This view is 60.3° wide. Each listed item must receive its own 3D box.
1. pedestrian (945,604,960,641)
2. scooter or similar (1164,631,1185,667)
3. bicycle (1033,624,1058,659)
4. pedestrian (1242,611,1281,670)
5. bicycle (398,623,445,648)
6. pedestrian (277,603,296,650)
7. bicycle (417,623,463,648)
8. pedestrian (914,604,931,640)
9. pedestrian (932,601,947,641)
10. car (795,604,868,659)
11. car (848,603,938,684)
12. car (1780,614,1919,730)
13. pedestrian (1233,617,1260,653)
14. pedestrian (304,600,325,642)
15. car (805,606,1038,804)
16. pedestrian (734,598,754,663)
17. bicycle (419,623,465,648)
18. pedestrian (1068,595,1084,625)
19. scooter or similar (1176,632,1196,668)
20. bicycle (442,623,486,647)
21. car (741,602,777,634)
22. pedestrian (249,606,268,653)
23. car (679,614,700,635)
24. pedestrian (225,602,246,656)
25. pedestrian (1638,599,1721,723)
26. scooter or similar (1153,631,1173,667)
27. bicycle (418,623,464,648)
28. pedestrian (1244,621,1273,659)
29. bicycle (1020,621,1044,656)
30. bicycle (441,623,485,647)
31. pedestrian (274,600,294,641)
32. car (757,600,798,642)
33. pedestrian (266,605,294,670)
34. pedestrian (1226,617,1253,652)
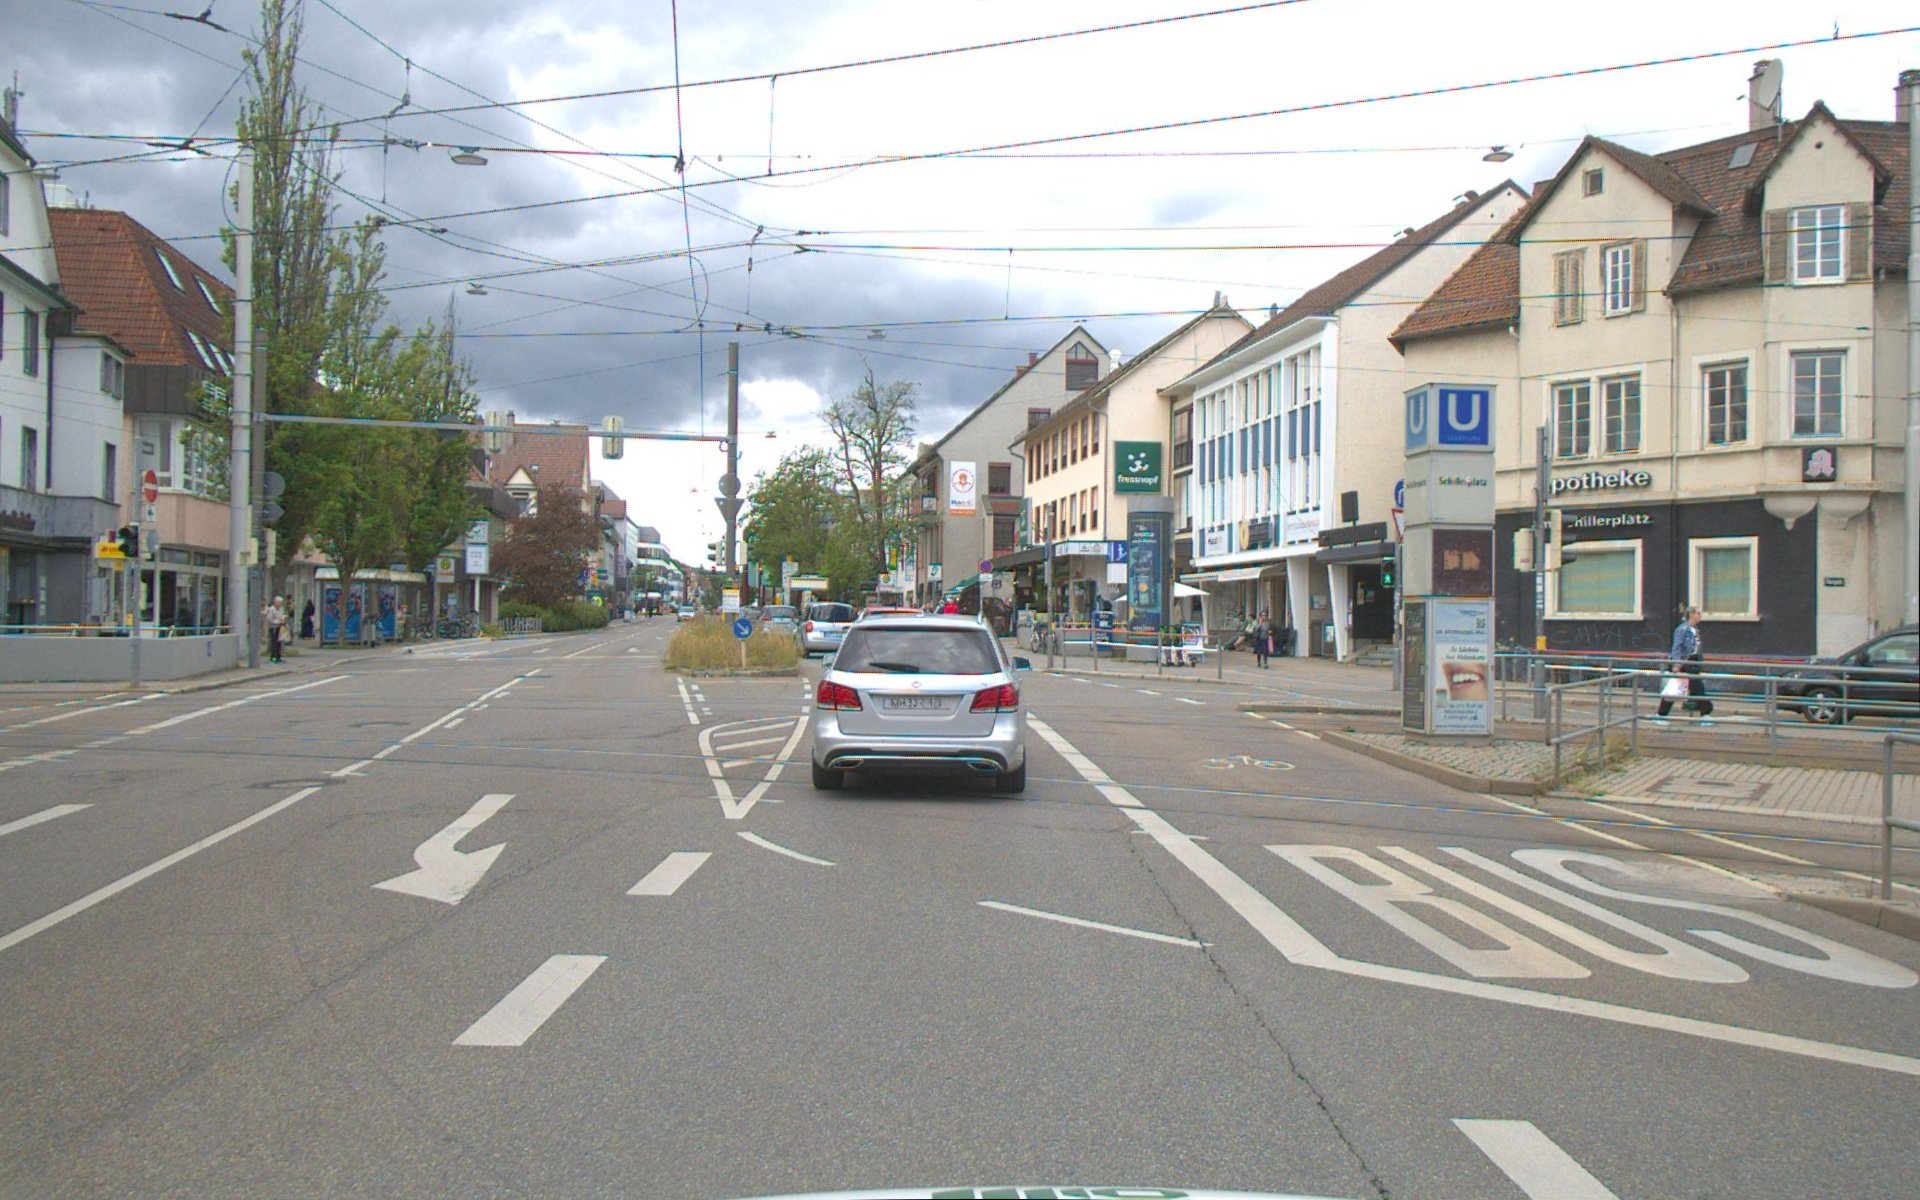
[{"bbox_3d":[-0.296,0.924,68.684,0.566,1.495,0.651,1,-1,1],"label":"pedestrian"},{"bbox_3d":[6.217,1.429,47.988,0.266,1.019,1.026,0,-1,-12],"label":"scooter or similar"},{"bbox_3d":[2.814,1.371,54.751,0.439,1.127,2.145,0,-1,-8],"label":"bicycle"},{"bbox_3d":[8.529,1.145,46.785,0.633,1.619,0.889,2,-1,-29],"label":"pedestrian"},{"bbox_3d":[-23.263,1.541,71.503,1.908,1.047,0.527,2,-1,-19],"label":"bicycle"},{"bbox_3d":[-23.218,0.914,56.999,0.569,1.634,0.640,1,-1,-21],"label":"pedestrian"},{"bbox_3d":[-23.102,1.573,73.538,1.908,1.047,0.527,2,-1,-19],"label":"bicycle"},{"bbox_3d":[-1.547,0.895,68.225,0.567,1.460,0.649,2,-1,-10],"label":"pedestrian"},{"bbox_3d":[-0.893,0.924,72.298,0.566,1.696,0.651,1,-1,-3],"label":"pedestrian"},{"bbox_3d":[-3.748,0.885,47.757,1.703,1.534,3.990,0,0,-11],"label":"car"},{"bbox_3d":[-1.378,0.835,33.653,1.699,1.534,3.998,1,0,-3],"label":"car"},{"bbox_3d":[16.343,1.225,27.531,4.602,1.853,1.857,1,-2,36],"label":"car"},{"bbox_3d":[9.730,1.186,56.159,0.723,1.184,0.641,2,-1,-11],"label":"pedestrian"},{"bbox_3d":[-25.233,0.819,64.627,0.695,1.634,0.574,1,-1,-29],"label":"pedestrian"},{"bbox_3d":[-0.269,0.828,14.973,1.807,1.534,4.171,0,0,1],"label":"car"},{"bbox_3d":[-6.025,0.852,46.112,0.523,1.794,0.578,0,-1,-11],"label":"pedestrian"},{"bbox_3d":[-22.660,1.568,72.342,1.908,1.047,0.527,2,-1,-19],"label":"bicycle"},{"bbox_3d":[4.941,0.434,70.705,0.523,1.240,0.578,2,-1,-11],"label":"pedestrian"},{"bbox_3d":[6.566,1.436,48.073,0.266,1.019,1.026,0,-1,-12],"label":"scooter or similar"},{"bbox_3d":[-22.608,1.612,75.392,1.908,1.047,0.527,2,-1,-19],"label":"bicycle"},{"bbox_3d":[-11.681,1.056,95.995,1.957,1.780,3.992,1,0,-9],"label":"car"},{"bbox_3d":[-24.978,1.048,58.894,0.569,1.634,0.640,1,-1,-21],"label":"pedestrian"},{"bbox_3d":[-26.905,2.397,164.625,1.957,2.049,3.990,1,0,-10],"label":"car"},{"bbox_3d":[-25.359,1.023,57.876,0.633,1.868,0.576,1,-1,-23],"label":"pedestrian"},{"bbox_3d":[10.347,0.861,23.797,0.826,1.748,0.725,0,-1,-12],"label":"pedestrian"},{"bbox_3d":[5.868,1.425,47.895,0.266,1.019,1.026,0,-1,-12],"label":"scooter or similar"},{"bbox_3d":[-22.889,1.571,72.972,1.908,1.047,0.527,2,-1,-19],"label":"bicycle"},{"bbox_3d":[9.603,1.281,53.187,0.723,1.184,0.641,2,-1,-11],"label":"pedestrian"},{"bbox_3d":[2.378,1.267,54.684,0.439,1.110,2.145,0,-1,-8],"label":"bicycle"},{"bbox_3d":[-22.948,1.616,76.322,1.908,1.047,0.527,2,-1,-19],"label":"bicycle"},{"bbox_3d":[-27.095,0.806,66.279,0.695,1.634,0.574,1,-1,-29],"label":"pedestrian"},{"bbox_3d":[-8.023,0.912,72.469,1.701,1.790,3.993,0,0,-7],"label":"car"},{"bbox_3d":[-17.341,0.952,42.204,0.625,1.634,0.700,1,-1,-21],"label":"pedestrian"},{"bbox_3d":[9.600,1.181,56.804,0.723,1.184,0.641,2,-1,-11],"label":"pedestrian"}]
